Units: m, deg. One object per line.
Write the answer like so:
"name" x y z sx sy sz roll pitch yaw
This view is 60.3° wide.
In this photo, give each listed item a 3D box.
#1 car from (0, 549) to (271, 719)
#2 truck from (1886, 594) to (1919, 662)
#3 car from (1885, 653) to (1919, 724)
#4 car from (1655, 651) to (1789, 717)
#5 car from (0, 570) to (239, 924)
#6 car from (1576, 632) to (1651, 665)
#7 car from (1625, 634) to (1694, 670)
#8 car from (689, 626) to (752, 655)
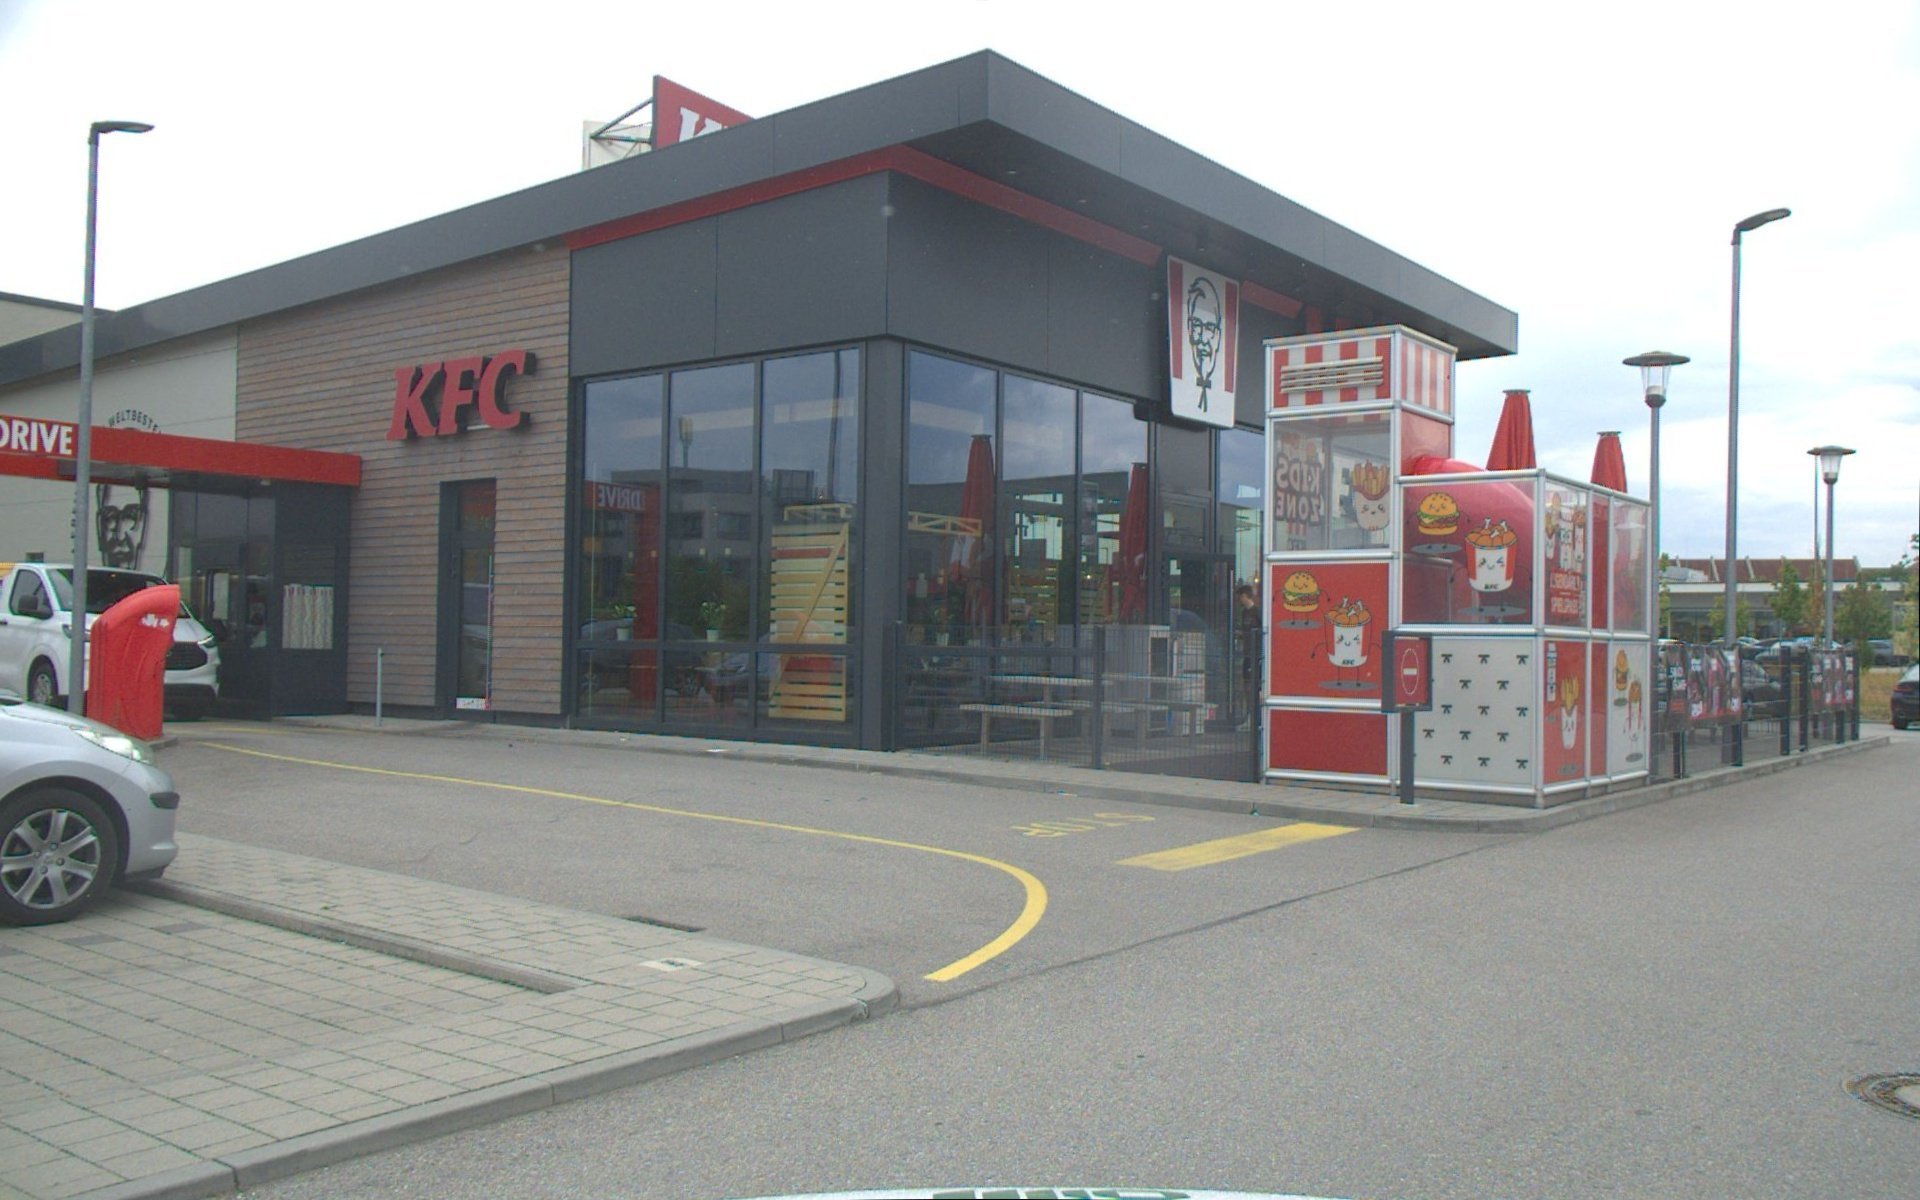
"car" -11.398 0.437 21.700 5.027 1.965 2.269 0 -2 40
"truck" 47.407 1.307 76.734 2.966 3.252 8.407 0 0 -12
"car" 22.065 2.009 36.568 1.913 1.492 4.489 0 -3 42
"car" 18.455 2.055 39.990 1.855 1.437 4.046 0 -3 42
"car" -5.377 0.617 6.844 1.597 1.531 4.151 0 -1 36
"car" 38.658 2.862 97.901 1.965 1.803 3.975 0 0 -21
"car" 37.727 2.780 89.146 1.967 1.803 4.290 -1 0 45
"car" -13.125 2.201 90.456 1.735 1.495 4.426 2 -2 -32
